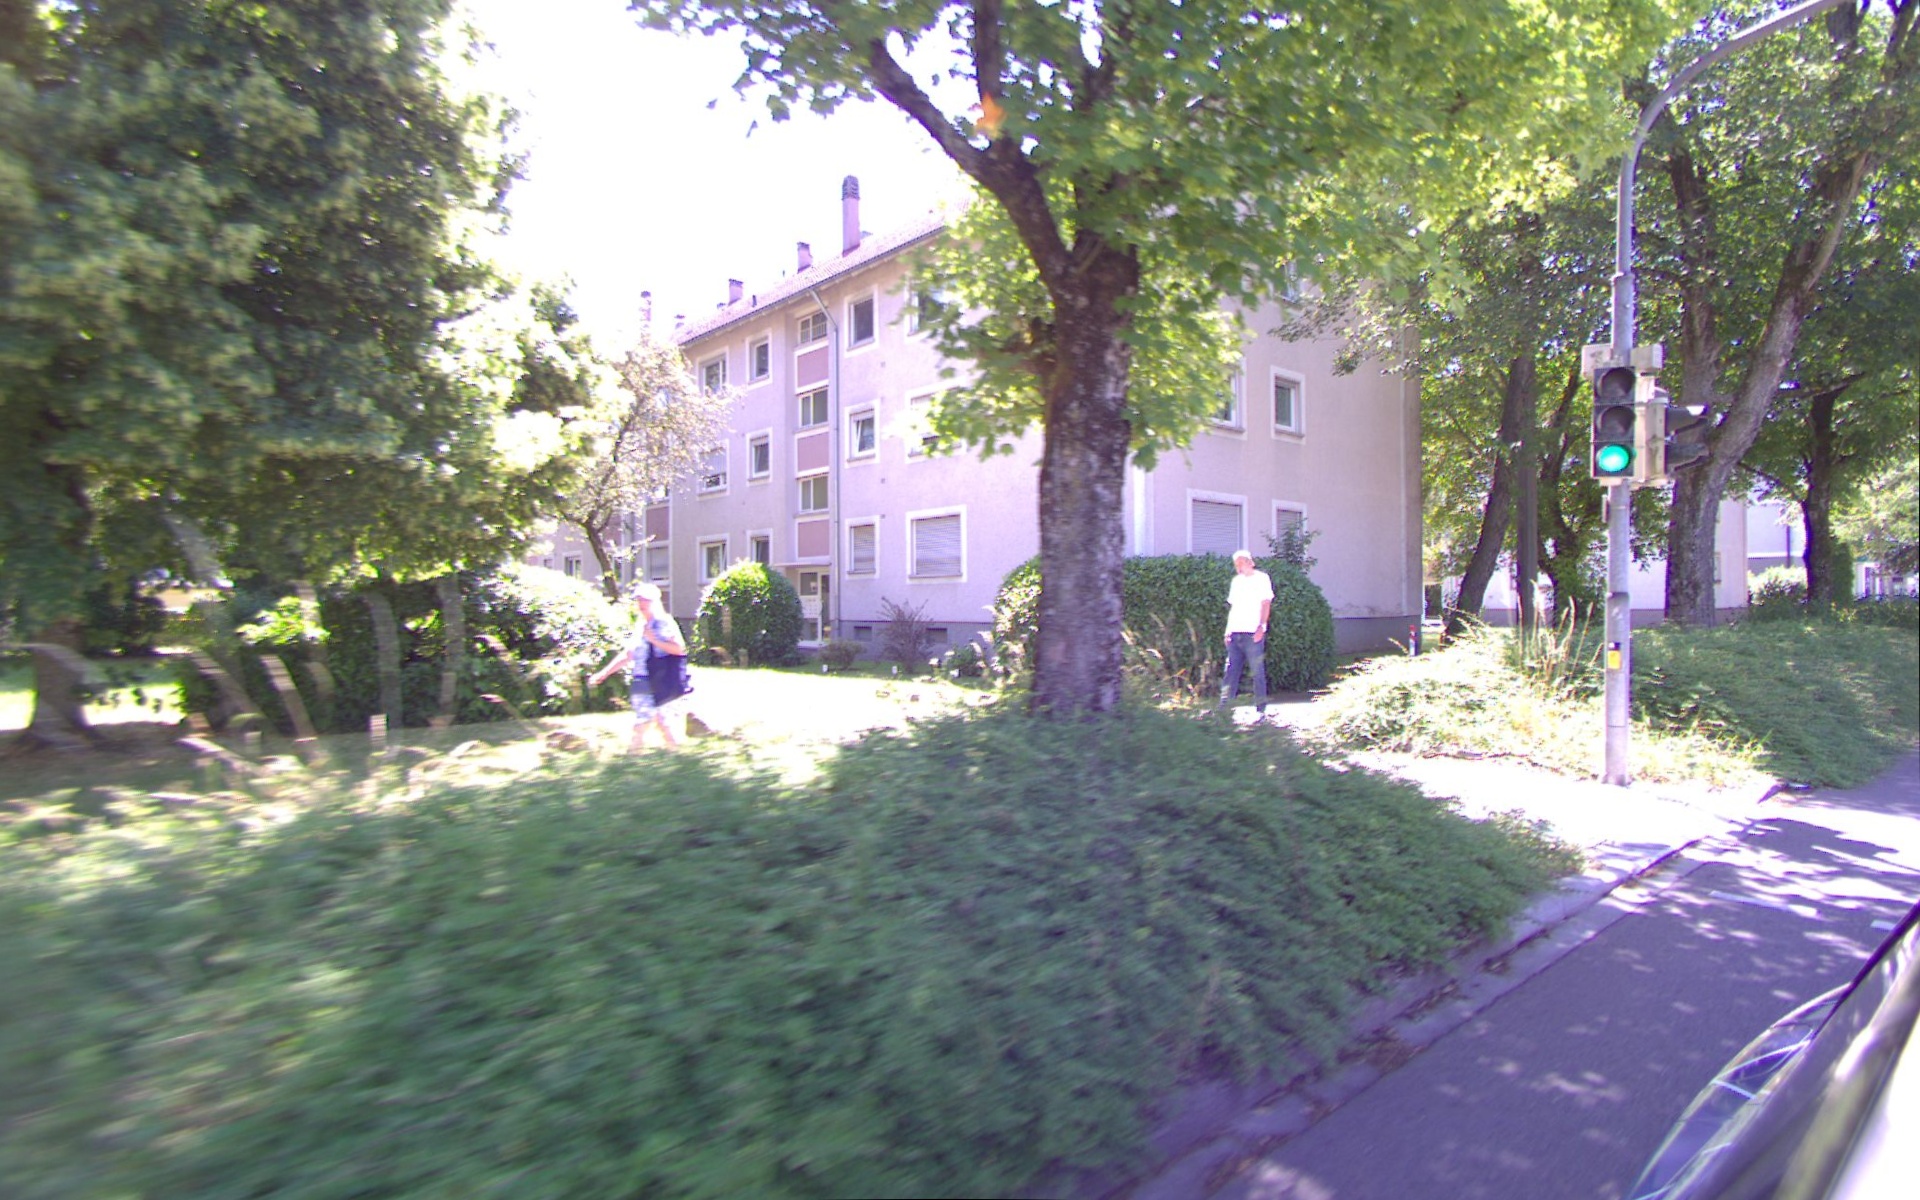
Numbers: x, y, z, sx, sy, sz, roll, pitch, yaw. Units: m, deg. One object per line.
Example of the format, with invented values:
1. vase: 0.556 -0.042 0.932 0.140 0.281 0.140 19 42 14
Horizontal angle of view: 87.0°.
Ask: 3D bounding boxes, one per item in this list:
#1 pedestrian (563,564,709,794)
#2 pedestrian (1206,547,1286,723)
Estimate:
1. pedestrian: -2.508 0.562 7.850 0.717 1.654 0.838 0 0 43
2. pedestrian: 3.243 0.365 11.454 0.668 1.897 0.893 0 0 31
